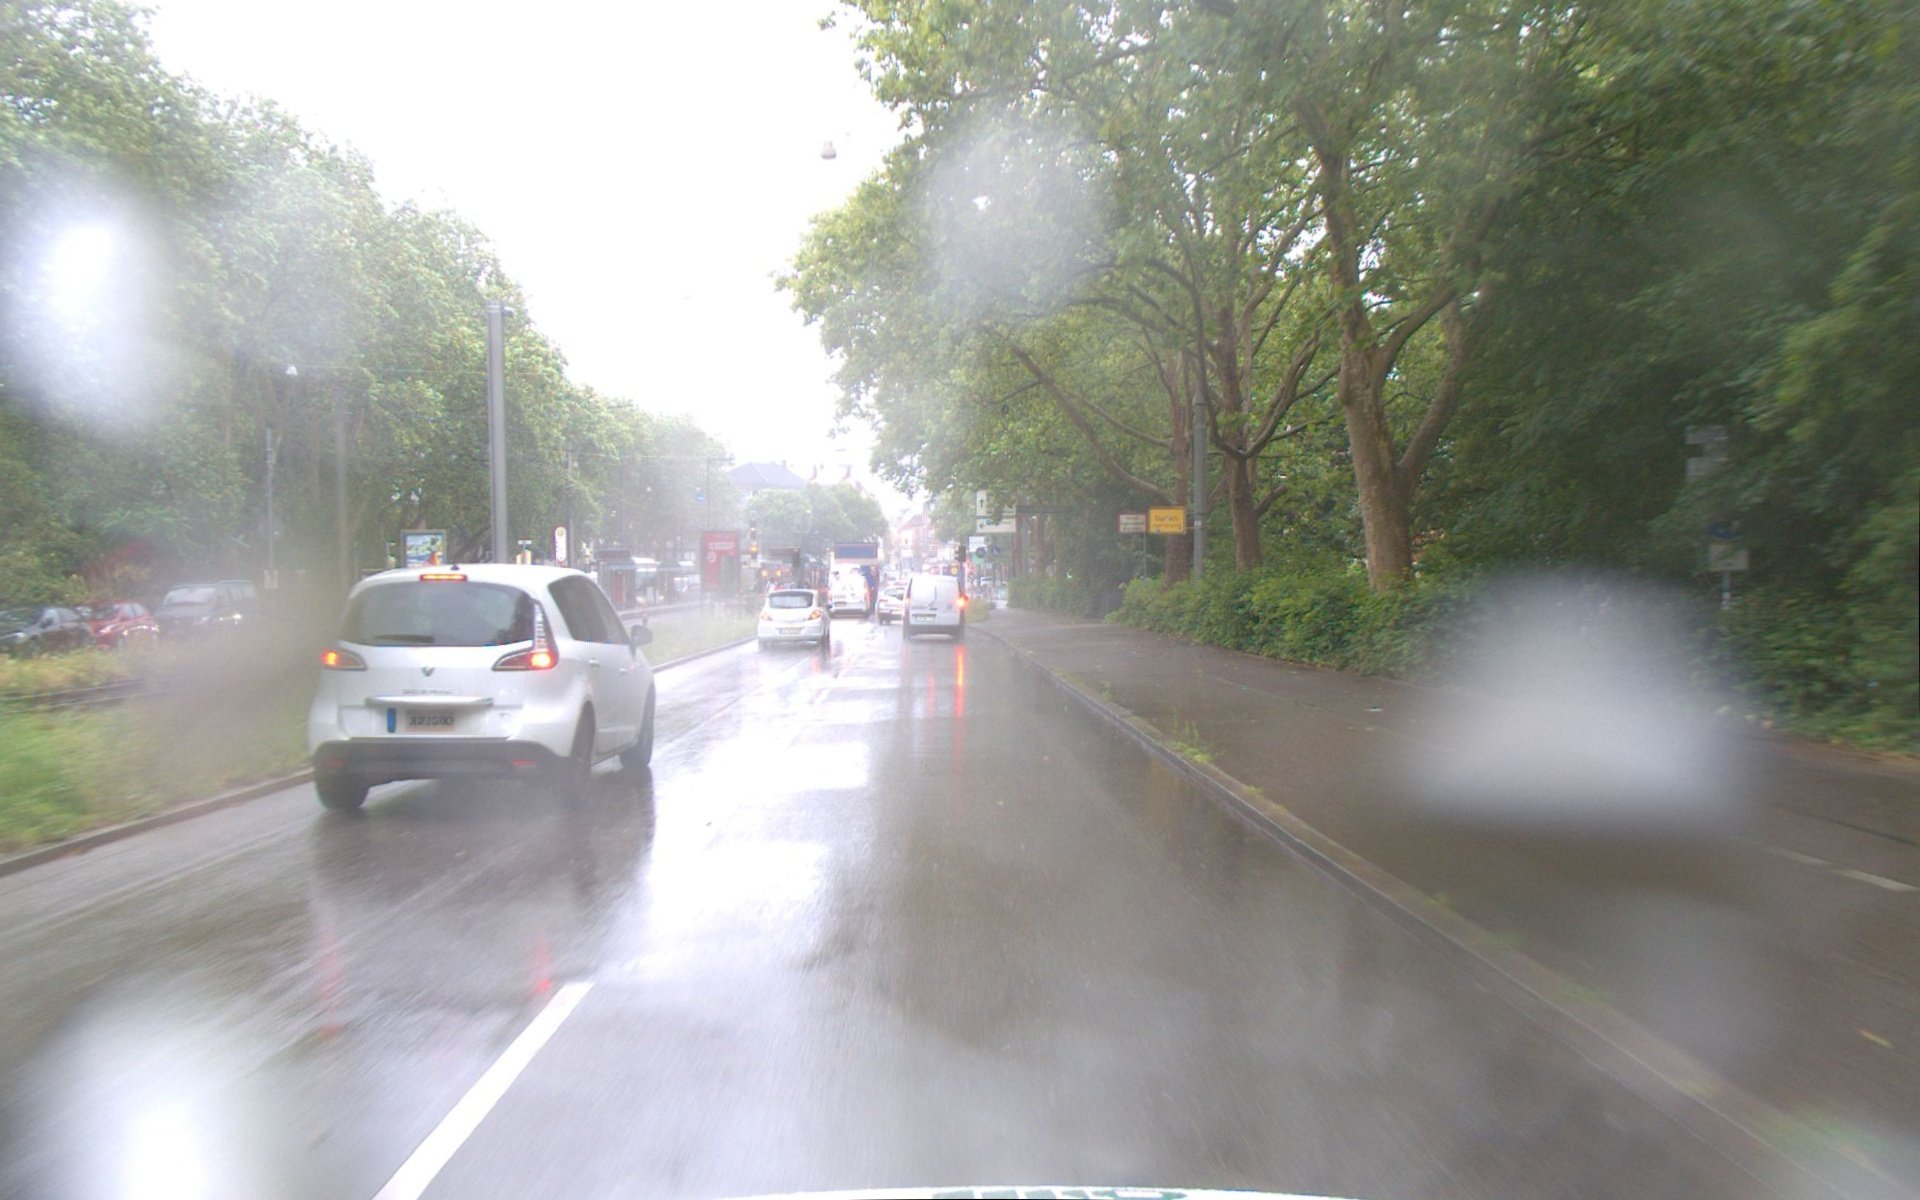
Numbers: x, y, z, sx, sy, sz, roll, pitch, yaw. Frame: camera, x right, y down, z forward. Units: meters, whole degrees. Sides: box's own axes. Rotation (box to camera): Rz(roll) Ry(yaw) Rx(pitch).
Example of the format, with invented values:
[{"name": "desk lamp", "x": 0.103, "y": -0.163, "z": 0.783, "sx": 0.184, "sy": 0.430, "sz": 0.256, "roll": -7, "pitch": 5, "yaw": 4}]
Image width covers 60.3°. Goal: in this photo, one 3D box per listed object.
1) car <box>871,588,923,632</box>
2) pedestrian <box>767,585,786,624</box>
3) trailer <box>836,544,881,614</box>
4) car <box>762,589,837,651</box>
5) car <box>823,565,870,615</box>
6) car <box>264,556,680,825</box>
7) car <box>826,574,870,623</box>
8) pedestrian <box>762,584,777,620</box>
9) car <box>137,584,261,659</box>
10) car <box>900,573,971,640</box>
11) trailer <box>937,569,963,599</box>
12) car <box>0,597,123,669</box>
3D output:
[{"name": "car", "x": -2.394, "y": 0.387, "z": 63.482, "sx": 1.869, "sy": 1.646, "sz": 3.999, "roll": 0, "pitch": -1, "yaw": -1}, {"name": "pedestrian", "x": -8.349, "y": 0.209, "z": 75.137, "sx": 0.774, "sy": 1.744, "sz": 0.770, "roll": 1, "pitch": -1, "yaw": -3}, {"name": "trailer", "x": -6.011, "y": -1.246, "z": 98.066, "sx": 2.539, "sy": 3.968, "sz": 7.631, "roll": 0, "pitch": 0, "yaw": -3}, {"name": "car", "x": -4.049, "y": 0.493, "z": 42.167, "sx": 1.691, "sy": 1.505, "sz": 3.803, "roll": 0, "pitch": -1, "yaw": -2}, {"name": "car", "x": -6.062, "y": -0.511, "z": 88.899, "sx": 2.283, "sy": 2.602, "sz": 6.111, "roll": 0, "pitch": -1, "yaw": -2}, {"name": "car", "x": -3.361, "y": 0.557, "z": 12.314, "sx": 1.826, "sy": 1.652, "sz": 4.262, "roll": 0, "pitch": 0, "yaw": 0}, {"name": "car", "x": -5.403, "y": -0.049, "z": 80.413, "sx": 1.953, "sy": 2.302, "sz": 5.286, "roll": 0, "pitch": -1, "yaw": -2}, {"name": "pedestrian", "x": -9.661, "y": 0.097, "z": 83.862, "sx": 0.701, "sy": 1.775, "sz": 0.750, "roll": 0, "pitch": 0, "yaw": -3}, {"name": "car", "x": -23.497, "y": 0.633, "z": 51.292, "sx": 1.993, "sy": 2.129, "sz": 4.797, "roll": -2, "pitch": 0, "yaw": -6}, {"name": "car", "x": -0.730, "y": 0.185, "z": 46.733, "sx": 1.920, "sy": 1.808, "sz": 3.568, "roll": 0, "pitch": -1, "yaw": -3}, {"name": "trailer", "x": -0.843, "y": -1.299, "z": 136.046, "sx": 1.954, "sy": 2.357, "sz": 4.665, "roll": 0, "pitch": -1, "yaw": -3}, {"name": "car", "x": -22.726, "y": 0.779, "z": 40.921, "sx": 1.992, "sy": 1.686, "sz": 4.606, "roll": 0, "pitch": 0, "yaw": -4}]
